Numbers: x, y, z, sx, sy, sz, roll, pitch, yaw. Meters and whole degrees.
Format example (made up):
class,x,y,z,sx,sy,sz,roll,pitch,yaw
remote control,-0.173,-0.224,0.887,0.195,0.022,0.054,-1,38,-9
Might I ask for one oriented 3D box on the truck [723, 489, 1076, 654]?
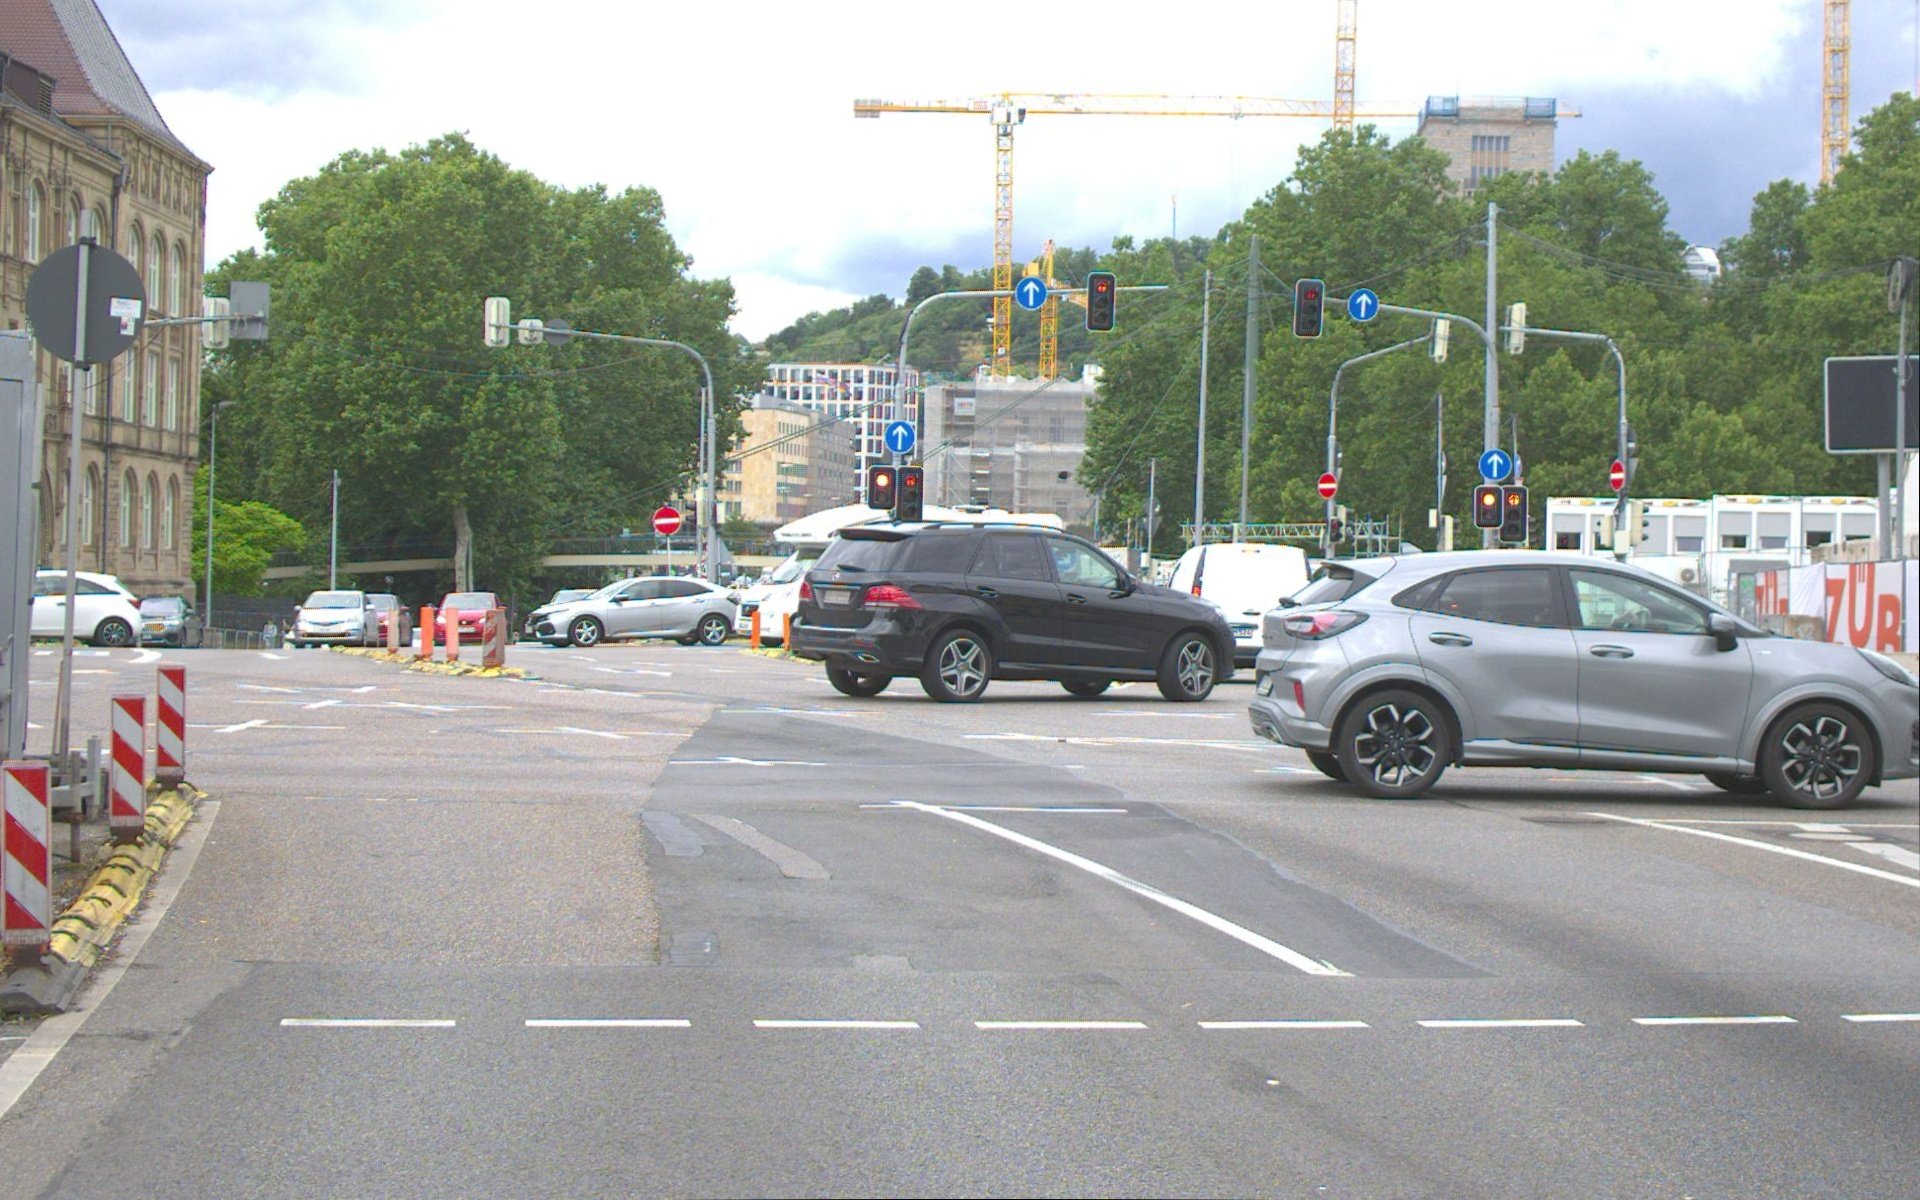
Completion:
class,x,y,z,sx,sy,sz,roll,pitch,yaw
truck,-1.198,-0.542,68.356,6.580,3.135,2.368,1,0,-23

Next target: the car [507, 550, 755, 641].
class,x,y,z,sx,sy,sz,roll,pitch,yaw
car,-6.651,-0.096,69.553,4.564,1.769,2.000,1,1,-25

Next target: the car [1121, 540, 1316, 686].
class,x,y,z,sx,sy,sz,roll,pitch,yaw
car,3.381,0.140,45.842,1.863,1.827,4.723,1,1,-5

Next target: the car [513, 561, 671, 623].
class,x,y,z,sx,sy,sz,roll,pitch,yaw
car,-10.149,-0.227,94.943,3.988,1.656,2.000,1,0,6

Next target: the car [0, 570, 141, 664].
class,x,y,z,sx,sy,sz,roll,pitch,yaw
car,-17.767,0.311,65.002,4.146,1.718,1.909,1,1,-23

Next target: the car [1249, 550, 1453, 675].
class,x,y,z,sx,sy,sz,roll,pitch,yaw
car,5.745,0.156,51.095,1.993,1.753,4.506,1,1,-7

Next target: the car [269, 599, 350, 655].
class,x,y,z,sx,sy,sz,roll,pitch,yaw
car,-22.767,0.929,120.438,1.993,1.831,4.000,1,1,1

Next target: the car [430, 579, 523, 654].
class,x,y,z,sx,sy,sz,roll,pitch,yaw
car,-12.322,0.392,87.803,1.993,1.831,4.001,1,1,-3

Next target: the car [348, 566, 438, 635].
class,x,y,z,sx,sy,sz,roll,pitch,yaw
car,-15.552,-0.003,94.397,1.993,1.831,4.001,1,1,-3

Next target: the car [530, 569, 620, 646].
class,x,y,z,sx,sy,sz,roll,pitch,yaw
car,-9.582,0.166,85.847,1.993,1.831,4.001,1,1,-3

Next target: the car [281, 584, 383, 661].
class,x,y,z,sx,sy,sz,roll,pitch,yaw
car,-15.664,0.542,85.879,1.993,1.831,4.001,1,1,-3

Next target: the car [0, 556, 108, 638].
class,x,y,z,sx,sy,sz,roll,pitch,yaw
car,-21.069,-0.089,79.368,1.993,1.831,4.001,1,1,-3

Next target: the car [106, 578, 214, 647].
class,x,y,z,sx,sy,sz,roll,pitch,yaw
car,-22.067,0.319,95.013,1.993,1.831,4.000,1,1,1

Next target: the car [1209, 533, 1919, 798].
class,x,y,z,sx,sy,sz,roll,pitch,yaw
car,3.824,0.387,21.575,4.294,1.534,2.000,1,1,-2

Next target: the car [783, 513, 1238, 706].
class,x,y,z,sx,sy,sz,roll,pitch,yaw
car,0.544,0.082,34.728,4.244,1.828,2.000,0,1,-37
